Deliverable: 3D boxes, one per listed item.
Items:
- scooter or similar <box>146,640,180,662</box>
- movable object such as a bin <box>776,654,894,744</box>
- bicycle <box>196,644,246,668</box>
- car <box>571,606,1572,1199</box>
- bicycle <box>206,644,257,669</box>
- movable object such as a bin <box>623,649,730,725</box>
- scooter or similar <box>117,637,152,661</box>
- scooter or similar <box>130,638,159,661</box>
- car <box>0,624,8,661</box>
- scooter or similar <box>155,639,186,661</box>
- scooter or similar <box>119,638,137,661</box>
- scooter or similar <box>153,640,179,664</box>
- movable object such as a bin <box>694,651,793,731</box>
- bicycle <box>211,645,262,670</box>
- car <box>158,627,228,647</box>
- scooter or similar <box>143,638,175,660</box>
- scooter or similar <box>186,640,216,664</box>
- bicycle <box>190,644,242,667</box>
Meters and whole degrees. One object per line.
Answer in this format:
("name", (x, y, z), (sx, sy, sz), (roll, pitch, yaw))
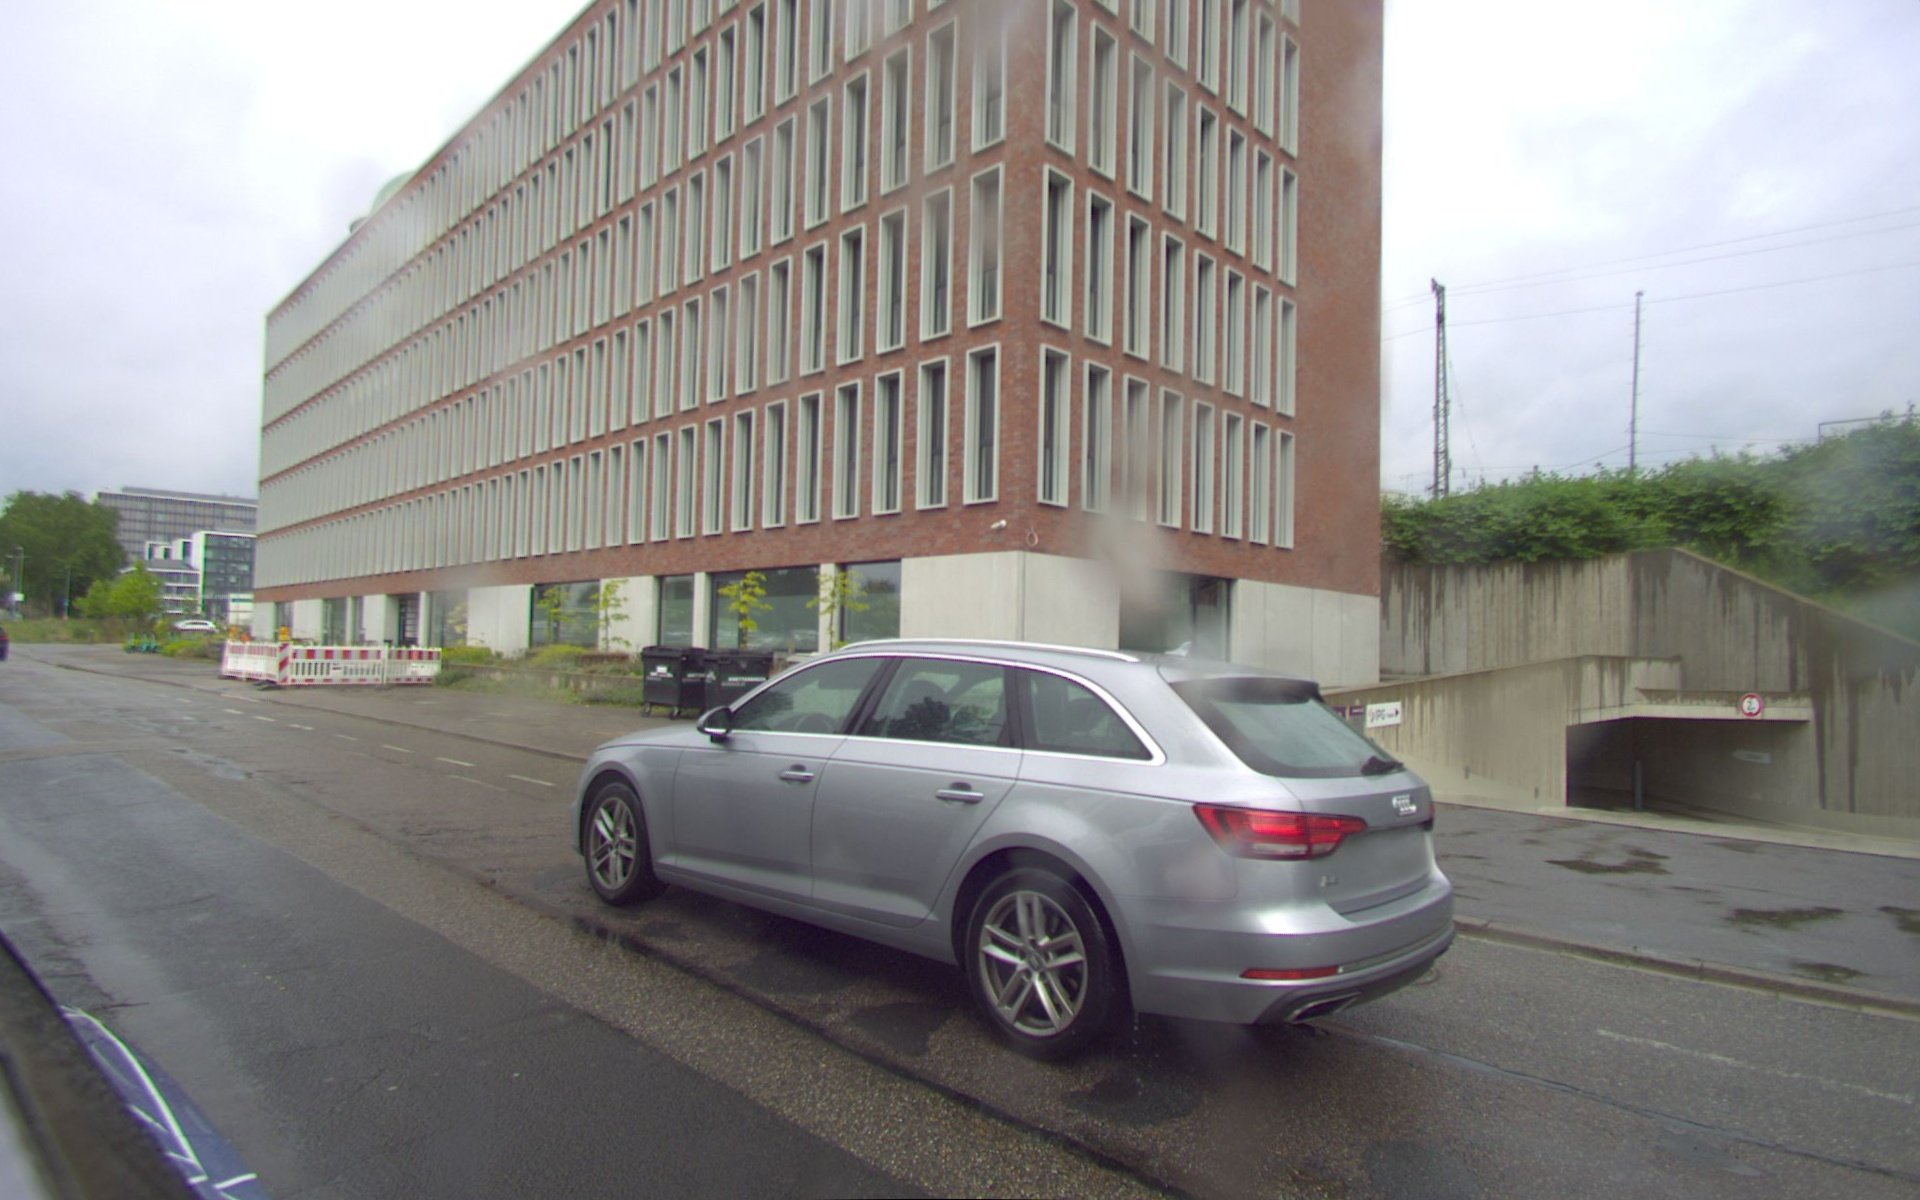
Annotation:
("scooter or similar", (-43.745, 2.805, 55.553), (0.465, 1.186, 1.307), (0, -4, 30))
("movable object such as a bin", (-1.999, 1.546, 16.205), (1.357, 1.342, 1.282), (-1, -4, 41))
("bicycle", (-35.194, 2.657, 48.226), (0.544, 1.085, 1.840), (-1, -2, 41))
("car", (0.115, 0.868, 4.651), (4.380, 1.461, 1.714), (-2, -6, 43))
("bicycle", (-33.971, 2.635, 47.194), (0.544, 1.085, 1.840), (-1, -2, 41))
("movable object such as a bin", (-5.294, 1.602, 18.940), (1.445, 1.318, 1.284), (-1, -3, 36))
("scooter or similar", (-44.342, 2.659, 54.358), (1.298, 1.239, 0.469), (3, -4, -19))
("scooter or similar", (-44.889, 2.739, 55.713), (1.308, 1.239, 0.465), (1, -3, 14))
("car", (-43.127, 1.781, 43.936), (4.141, 1.581, 1.744), (-1, -5, 36))
("scooter or similar", (-44.341, 2.816, 56.862), (1.300, 1.186, 0.468), (5, -5, -42))
("scooter or similar", (-46.243, 2.720, 56.219), (1.319, 1.239, 0.461), (-1, -4, 39))
("scooter or similar", (-42.624, 2.788, 54.341), (0.460, 1.217, 1.209), (2, -3, -6))
("movable object such as a bin", (-3.845, 1.581, 17.897), (1.355, 1.318, 1.453), (2, -3, -26))
("bicycle", (-33.321, 2.631, 46.635), (0.544, 1.085, 1.840), (-1, -2, 41))
("car", (-67.423, 3.265, 89.020), (1.998, 1.653, 4.476), (0, -3, 39))
("scooter or similar", (-45.047, 2.776, 56.909), (1.300, 1.186, 0.468), (5, -5, -42))
("scooter or similar", (-40.466, 2.789, 53.975), (1.211, 1.217, 0.418), (5, -4, -41))
("bicycle", (-35.821, 2.667, 48.750), (0.620, 1.085, 1.928), (-1, -2, 41))
